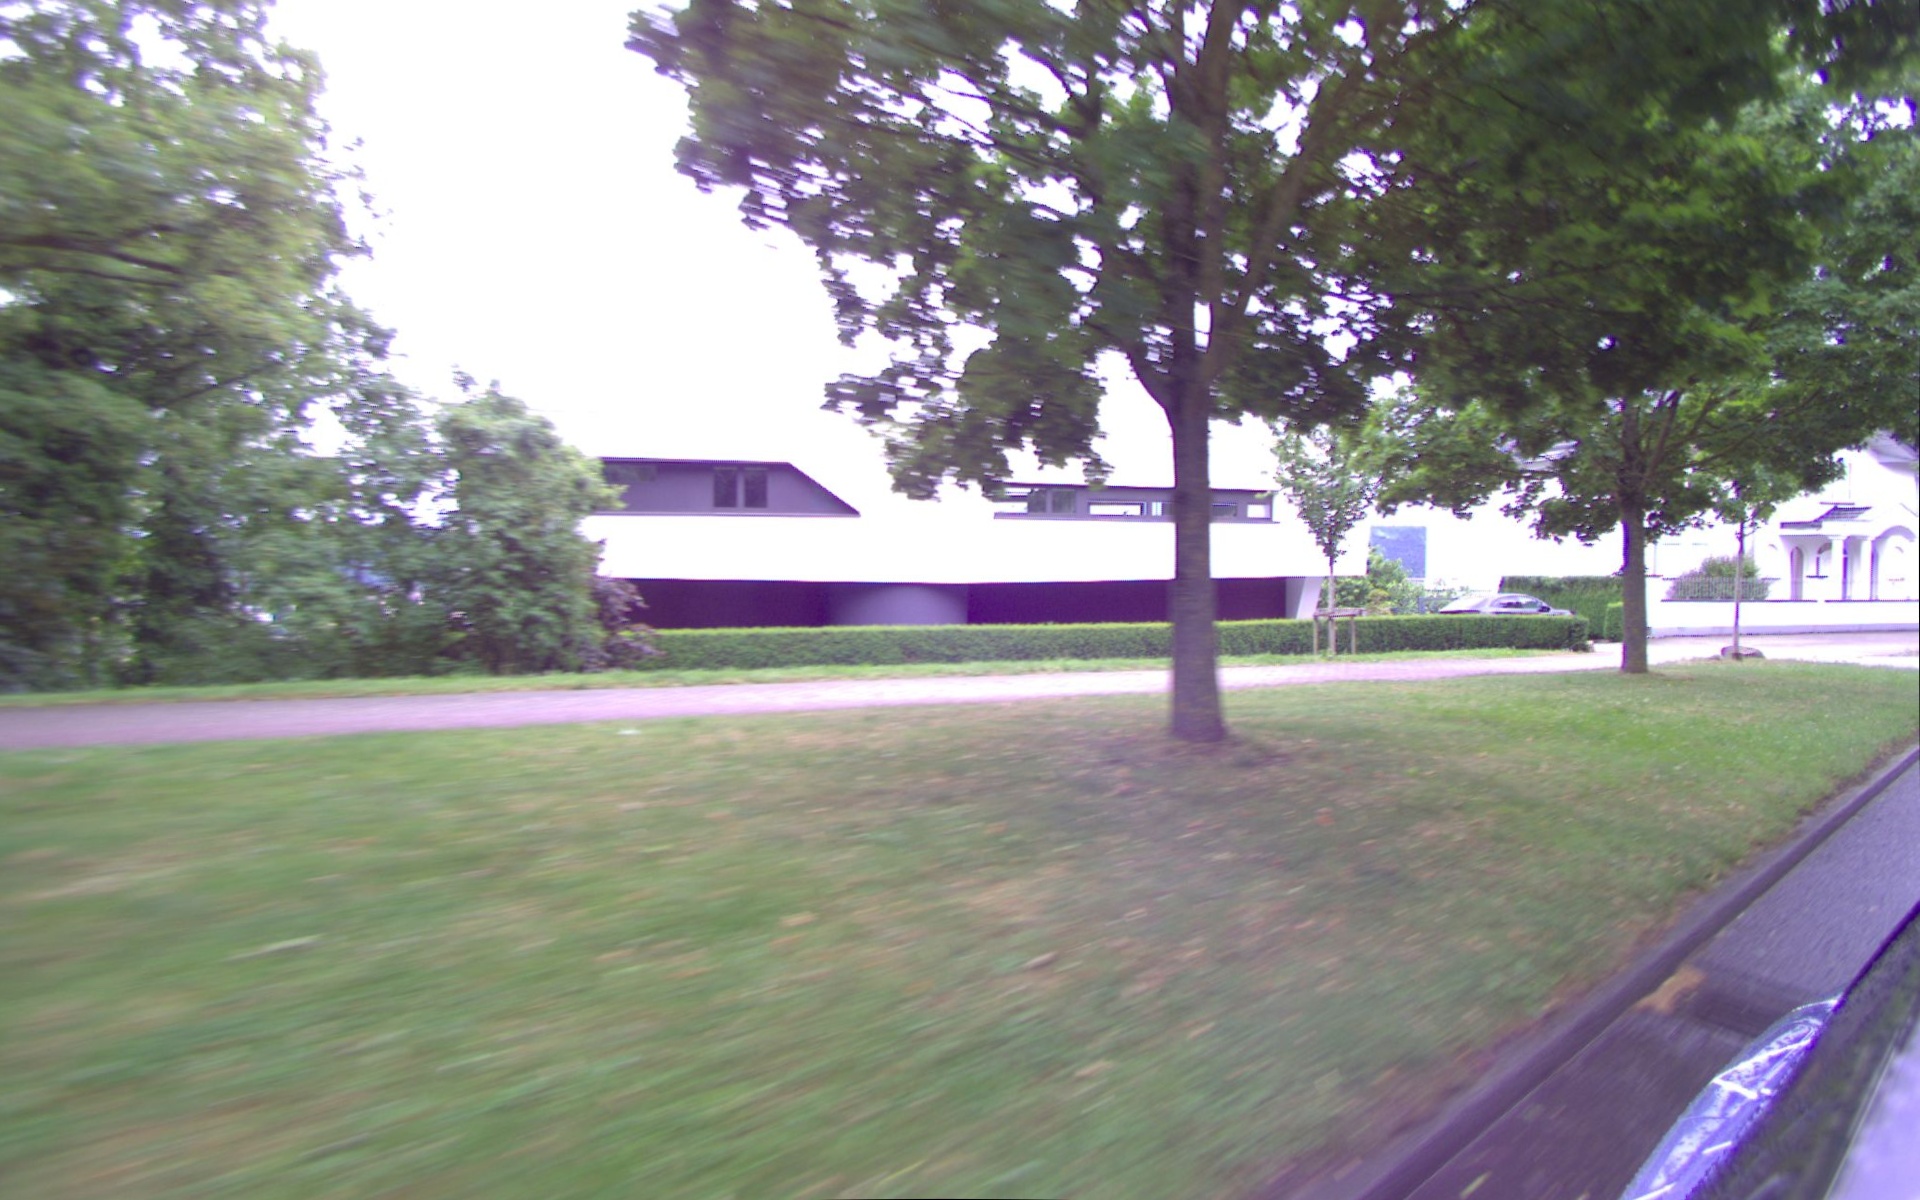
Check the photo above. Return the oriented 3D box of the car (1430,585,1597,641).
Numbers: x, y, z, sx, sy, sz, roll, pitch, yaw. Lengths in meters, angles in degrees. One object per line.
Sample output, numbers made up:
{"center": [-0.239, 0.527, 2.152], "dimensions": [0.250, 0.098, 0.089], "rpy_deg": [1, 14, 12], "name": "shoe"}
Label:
{"center": [17.008, 0.383, 31.129], "dimensions": [4.366, 1.570, 1.930], "rpy_deg": [-1, 0, -16], "name": "car"}
